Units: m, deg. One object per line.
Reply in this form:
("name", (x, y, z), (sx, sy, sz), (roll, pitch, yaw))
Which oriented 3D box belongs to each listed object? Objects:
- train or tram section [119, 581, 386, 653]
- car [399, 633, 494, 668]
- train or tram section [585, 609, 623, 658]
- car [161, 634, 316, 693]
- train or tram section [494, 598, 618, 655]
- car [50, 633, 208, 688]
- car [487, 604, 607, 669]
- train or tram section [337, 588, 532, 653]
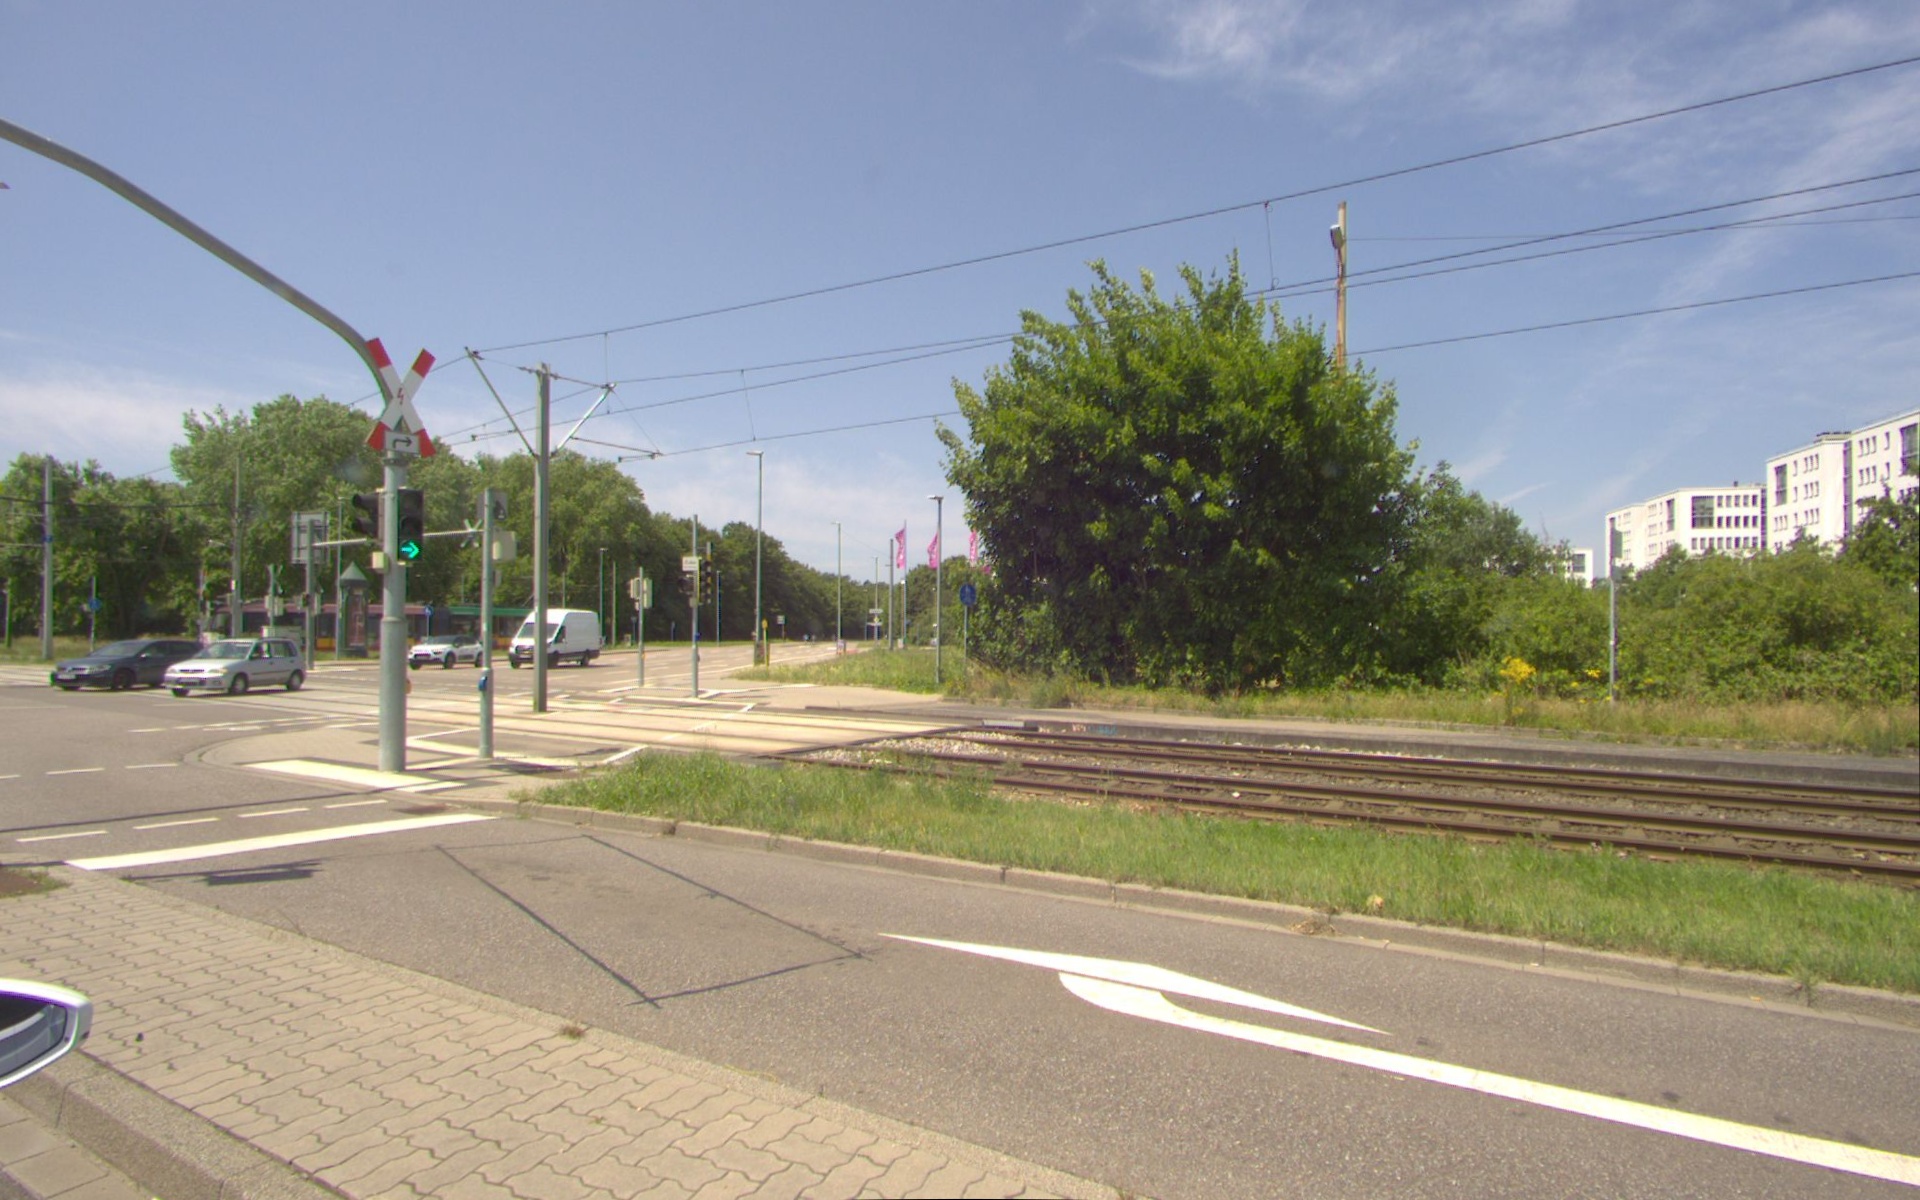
("train or tram section", (-42.423, 1.207, 60.760), (12.954, 3.857, 2.897), (3, -6, -45))
("car", (-22.895, 2.225, 44.862), (1.608, 1.481, 4.495), (0, -2, 5))
("train or tram section", (-33.594, 3.303, 94.833), (2.872, 3.965, 13.954), (0, -4, -18))
("car", (-19.607, 1.692, 27.425), (1.608, 1.481, 3.807), (0, -2, -3))
("train or tram section", (-32.749, 2.391, 82.212), (2.868, 3.965, 14.056), (-2, -4, 8))
("car", (-23.900, 1.706, 28.974), (1.608, 1.481, 3.510), (0, -2, 0))
("car", (-19.601, 1.745, 48.080), (2.664, 2.838, 7.287), (0, -2, 0))
("train or tram section", (-36.064, 1.652, 69.766), (2.874, 3.856, 13.436), (-3, -4, 21))
